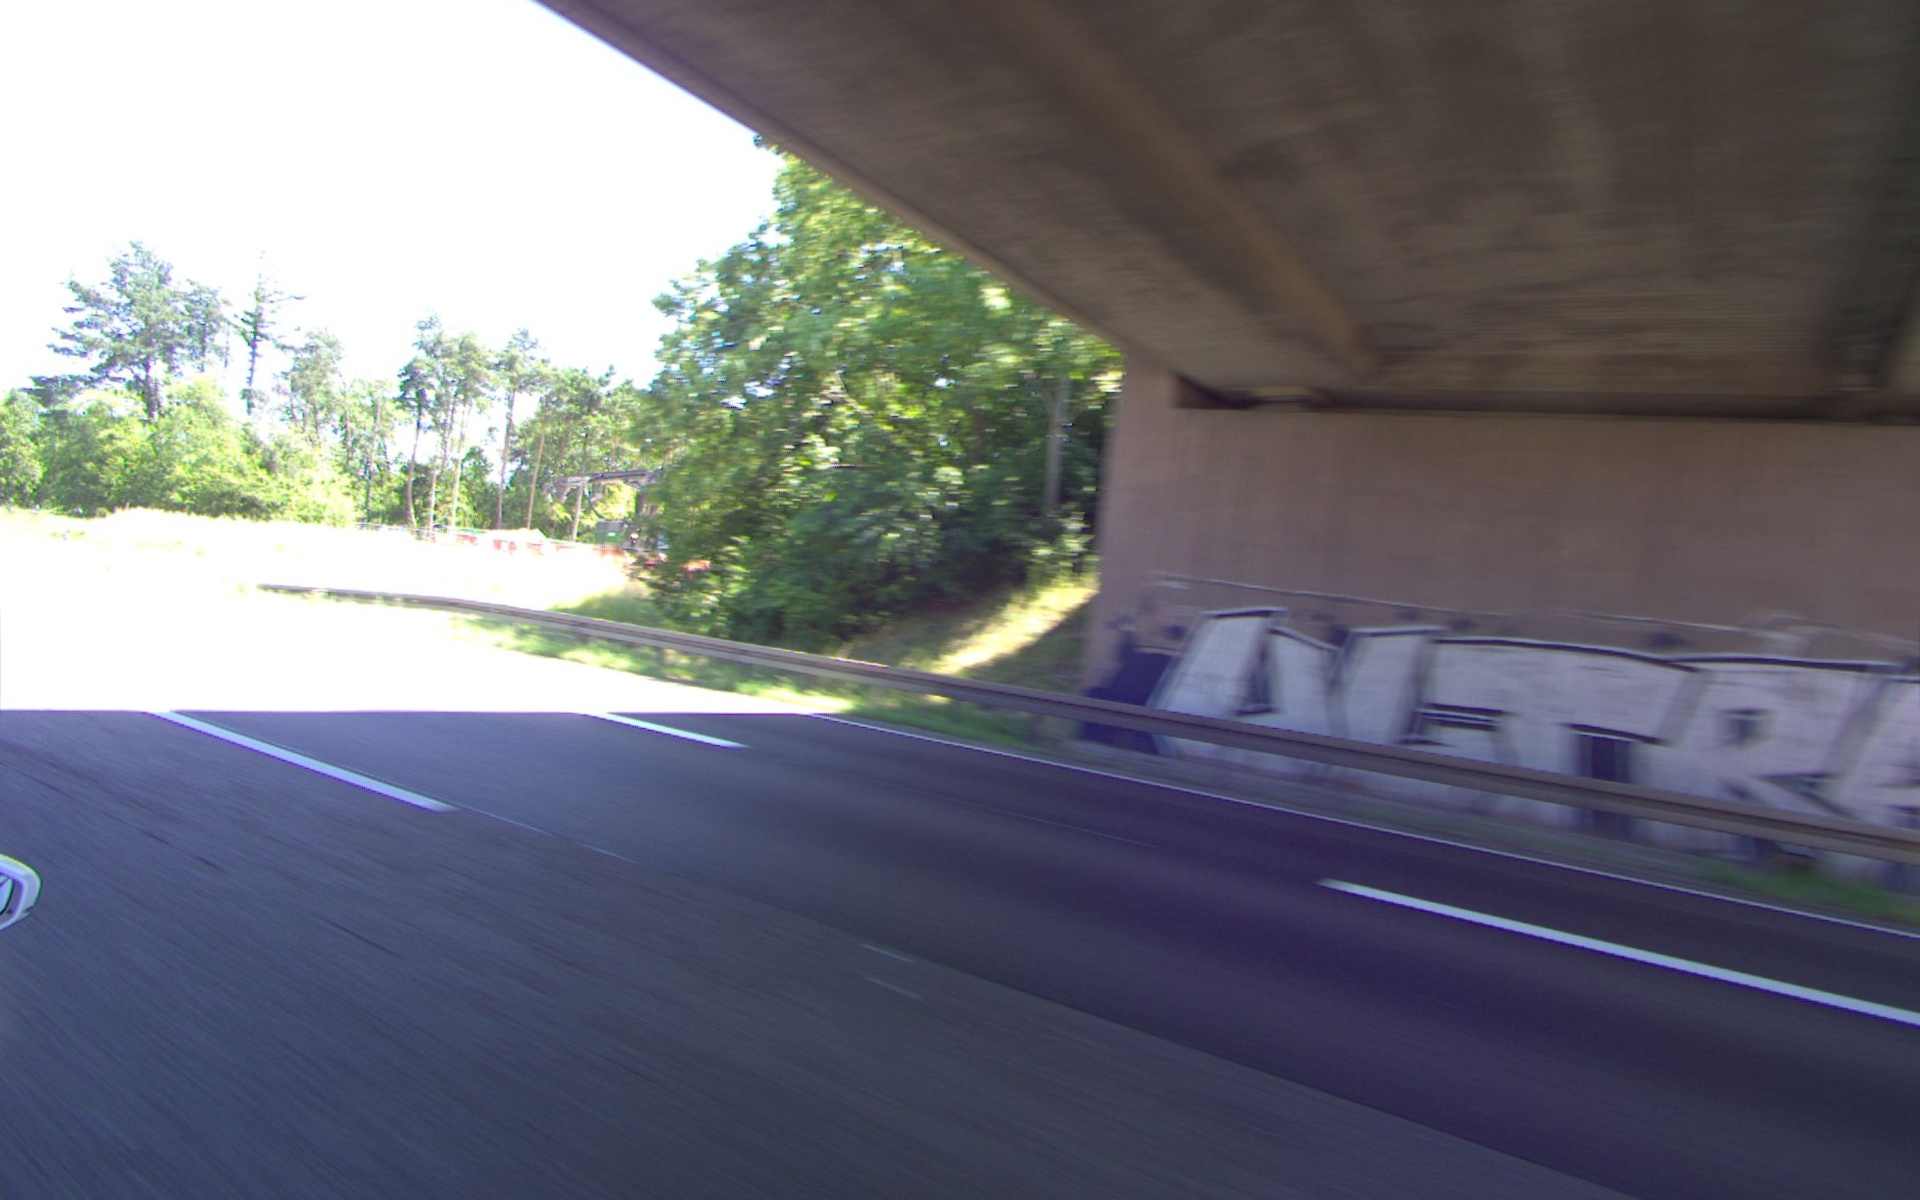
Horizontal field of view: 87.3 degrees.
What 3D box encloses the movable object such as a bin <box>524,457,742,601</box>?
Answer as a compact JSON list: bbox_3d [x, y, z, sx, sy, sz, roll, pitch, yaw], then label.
[{"bbox_3d":[-22.555,-4.944,67.193,22.502,8.020,3.123,6,-1,45],"label":"movable object such as a bin"}]
